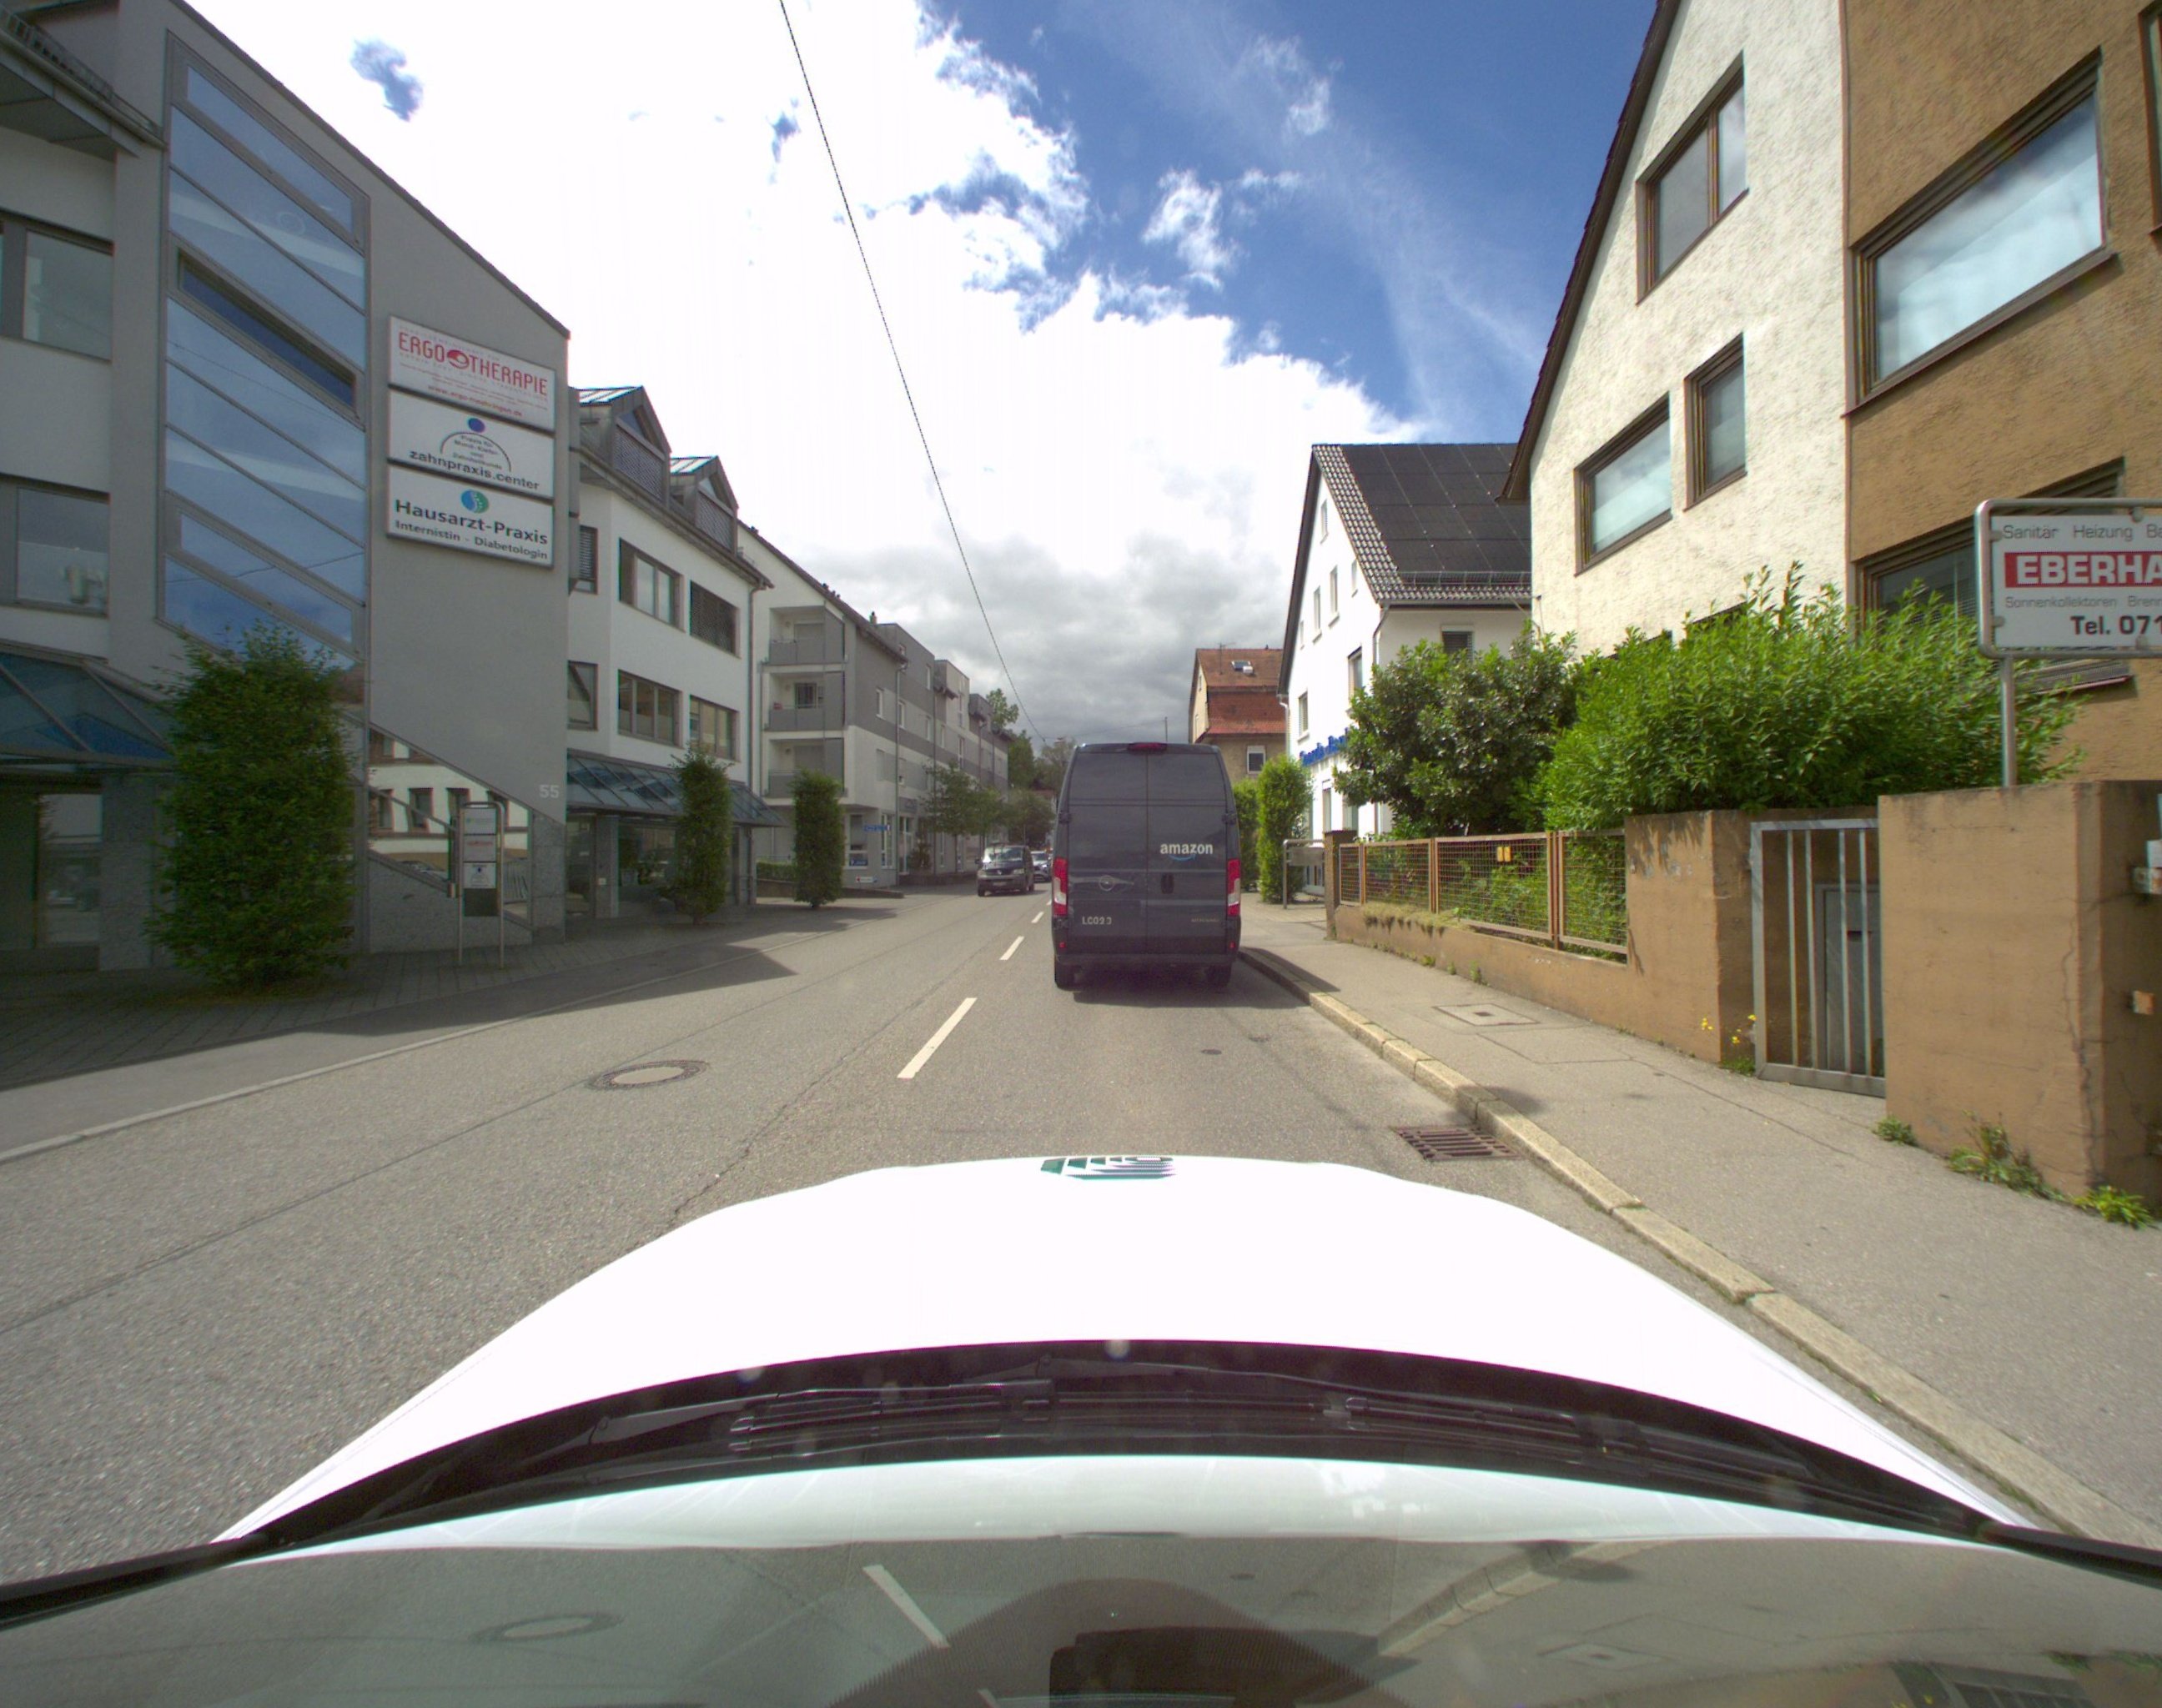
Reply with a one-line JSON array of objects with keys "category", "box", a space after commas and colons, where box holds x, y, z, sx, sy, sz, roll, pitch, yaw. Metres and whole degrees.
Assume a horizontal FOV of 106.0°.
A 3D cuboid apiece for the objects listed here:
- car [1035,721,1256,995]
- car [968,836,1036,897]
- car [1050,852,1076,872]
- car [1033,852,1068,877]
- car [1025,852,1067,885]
[{"category": "car", "box": [0.705, 0.044, 11.180, 2.245, 2.795, 5.569, -1, 0, 1]}, {"category": "car", "box": [-2.979, 0.446, 31.743, 2.098, 2.121, 4.765, -3, 0, 0]}, {"category": "car", "box": [-1.506, 0.680, 69.323, 2.098, 1.596, 4.649, -1, 0, 0]}, {"category": "car", "box": [-2.004, 0.677, 54.027, 2.098, 1.596, 4.649, -1, 0, 0]}, {"category": "car", "box": [-1.872, 0.751, 45.266, 2.098, 1.709, 4.765, -1, 0, 0]}]
